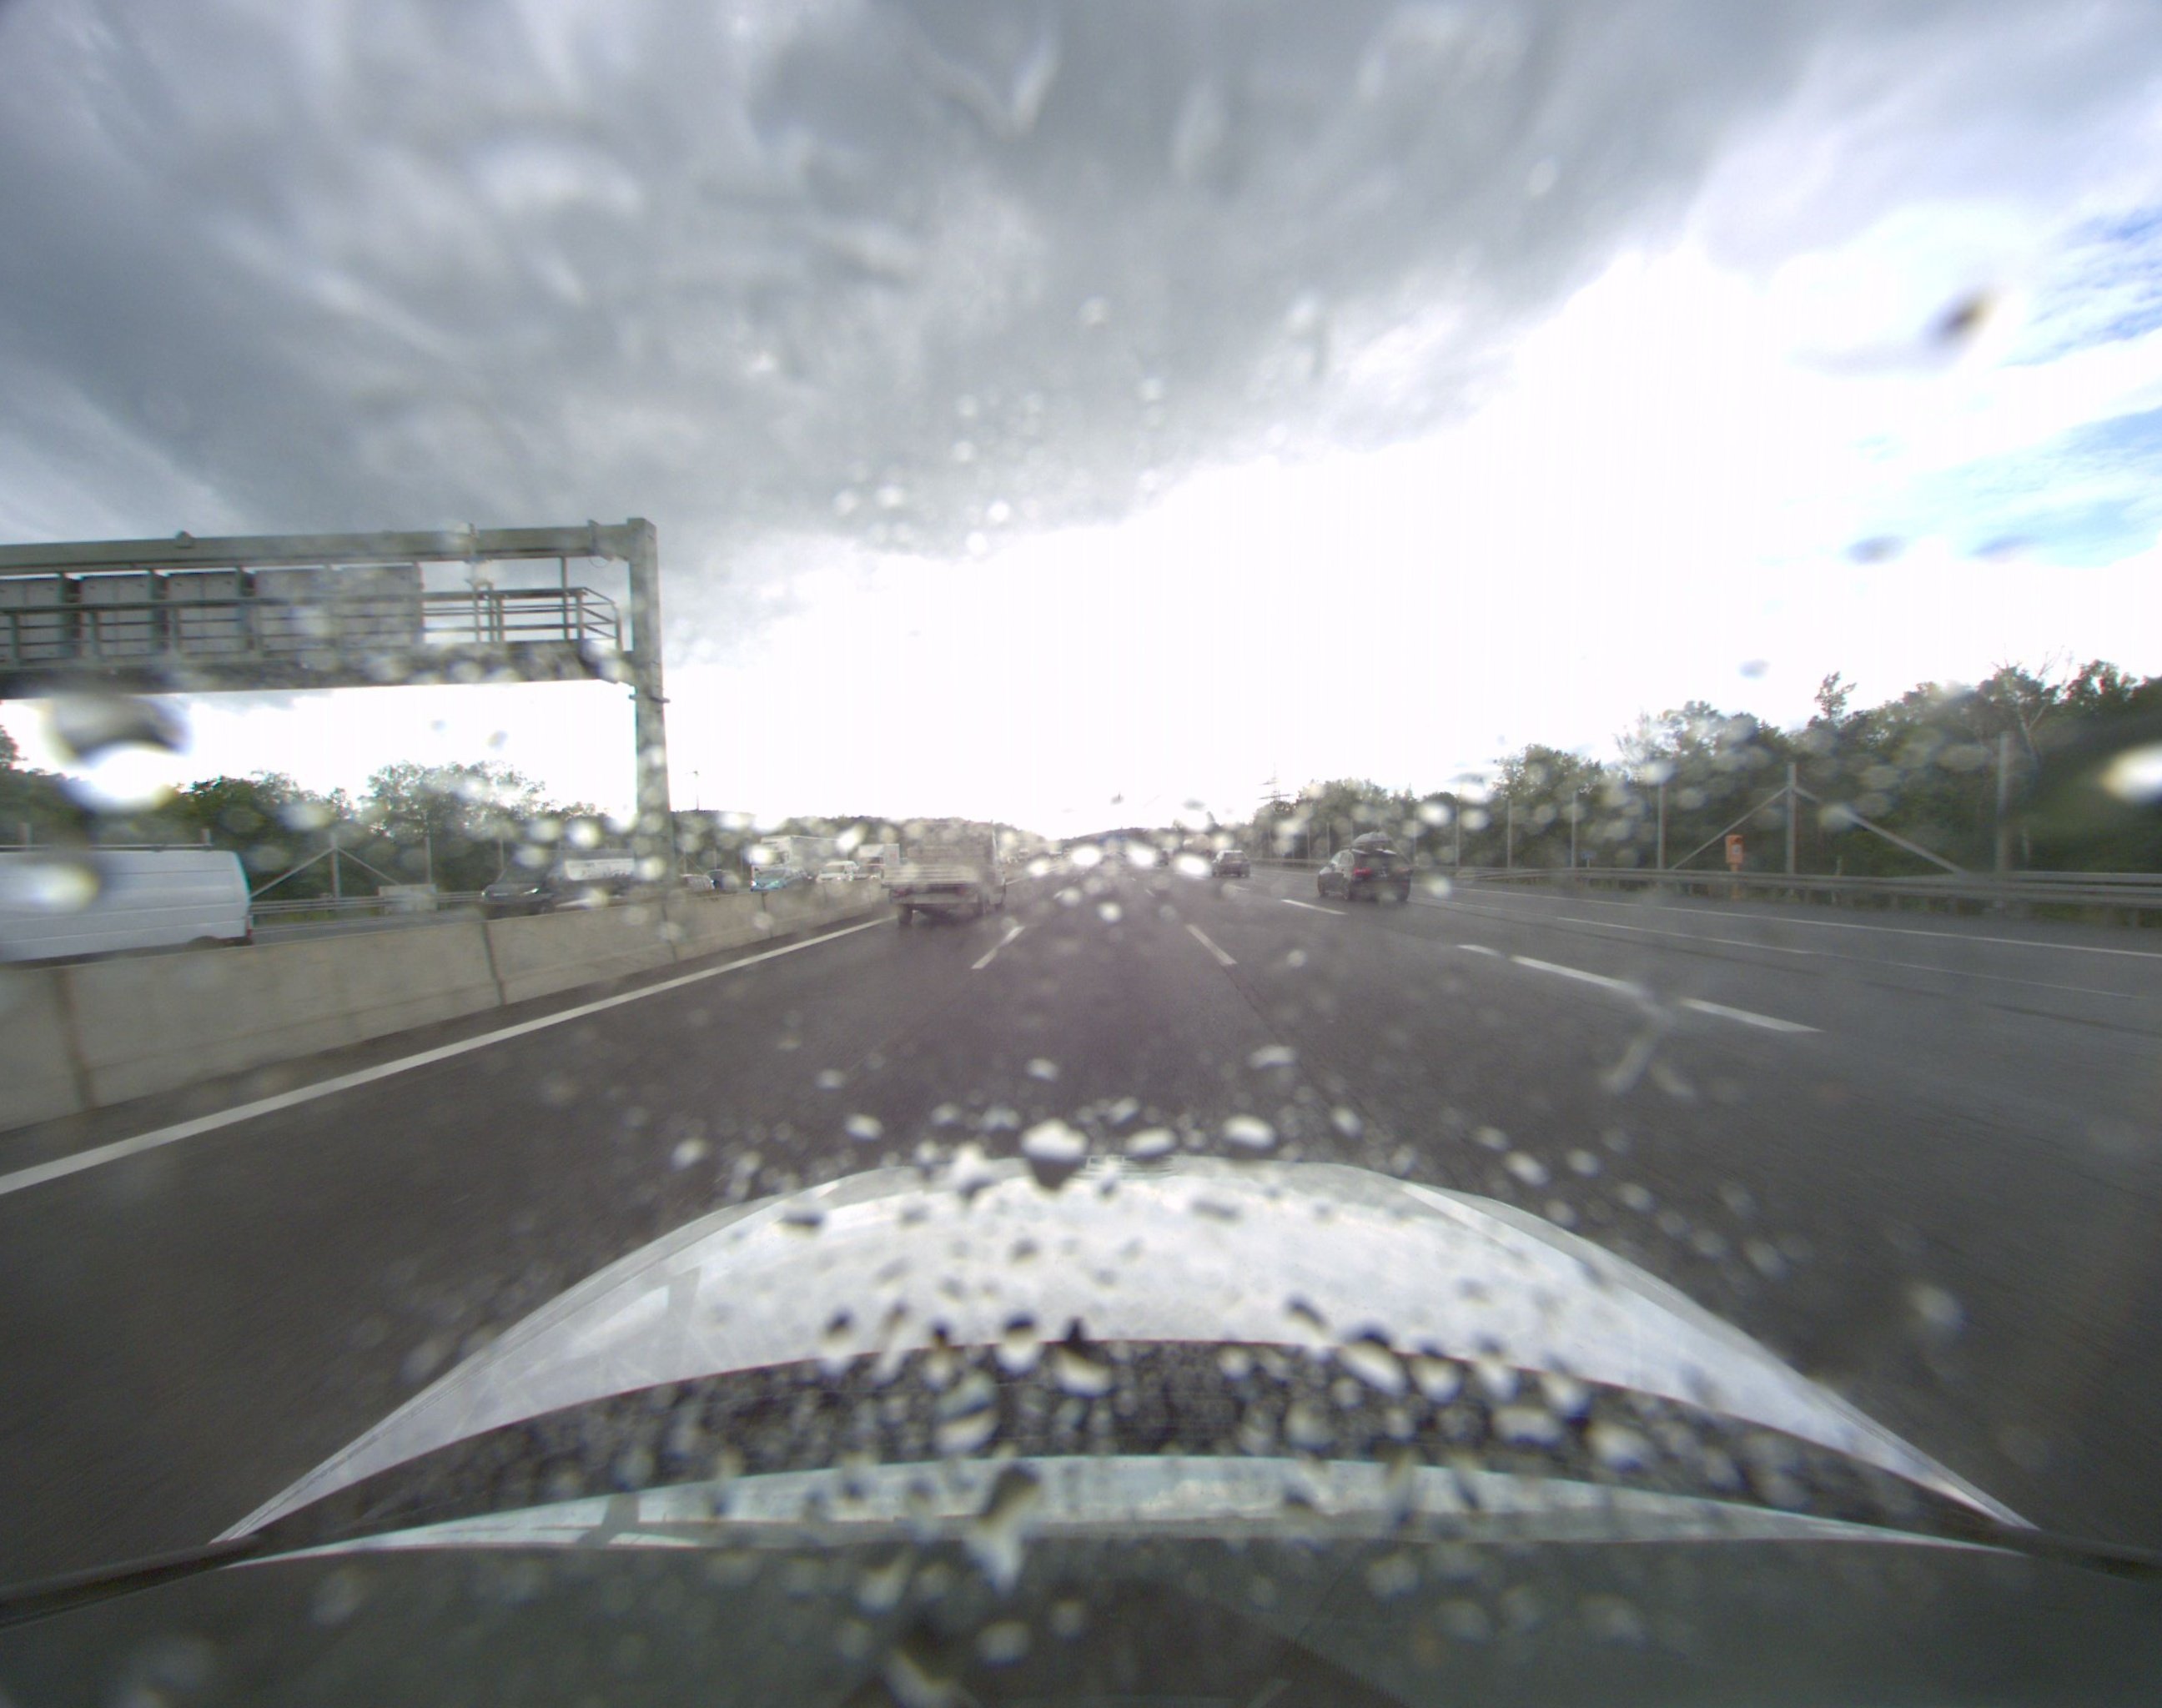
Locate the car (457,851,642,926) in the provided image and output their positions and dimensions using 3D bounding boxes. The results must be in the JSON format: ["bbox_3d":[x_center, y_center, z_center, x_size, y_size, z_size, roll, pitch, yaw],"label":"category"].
[{"bbox_3d":[-20.481,1.188,32.007,2.263,2.546,7.359,-2,0,1],"label":"car"}]

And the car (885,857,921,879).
[{"bbox_3d":[-16.242,1.229,74.529,1.851,1.824,5.667,-1,0,2],"label":"car"}]

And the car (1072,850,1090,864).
[{"bbox_3d":[0.000,0.386,101.961,2.037,1.699,4.002,-1,1,2],"label":"car"}]

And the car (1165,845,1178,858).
[{"bbox_3d":[17.448,-0.448,157.510,2.037,2.498,4.002,-1,0,2],"label":"car"}]

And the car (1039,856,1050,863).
[{"bbox_3d":[-7.963,1.197,177.439,1.887,1.624,4.847,-1,0,2],"label":"car"}]

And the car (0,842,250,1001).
[{"bbox_3d":[-18.016,1.079,13.442,2.195,2.488,6.066,-2,1,1],"label":"car"}]

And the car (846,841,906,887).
[{"bbox_3d":[-16.028,0.712,64.282,2.488,3.300,7.630,-1,0,2],"label":"car"}]

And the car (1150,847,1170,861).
[{"bbox_3d":[10.294,0.010,106.812,2.092,1.699,3.998,-1,1,-2],"label":"car"}]

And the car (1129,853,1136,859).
[{"bbox_3d":[15.143,0.572,240.202,2.037,1.699,4.003,-1,1,3],"label":"car"}]

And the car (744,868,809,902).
[{"bbox_3d":[-16.491,1.644,44.372,1.795,1.621,4.282,-1,0,2],"label":"car"}]

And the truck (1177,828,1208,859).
[{"bbox_3d":[15.328,-1.466,112.342,3.320,4.080,8.275,-1,0,2],"label":"truck"}]

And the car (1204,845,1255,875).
[{"bbox_3d":[9.081,0.342,50.213,2.039,1.699,5.004,-2,0,-1],"label":"car"}]

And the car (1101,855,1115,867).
[{"bbox_3d":[3.981,0.976,119.182,2.038,1.699,4.002,-1,1,1],"label":"car"}]

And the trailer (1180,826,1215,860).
[{"bbox_3d":[15.100,-1.377,106.423,3.320,4.175,11.844,-1,0,2],"label":"trailer"}]

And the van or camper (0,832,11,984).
[{"bbox_3d":[-21.573,1.095,12.266,2.575,2.847,6.212,-2,1,-1],"label":"van or camper"}]

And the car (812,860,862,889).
[{"bbox_3d":[-16.087,1.316,53.931,1.706,1.667,4.798,-1,0,2],"label":"car"}]

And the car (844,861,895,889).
[{"bbox_3d":[-12.498,1.191,48.392,1.752,1.498,4.395,-1,0,2],"label":"car"}]

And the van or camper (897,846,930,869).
[{"bbox_3d":[-16.523,0.279,80.730,2.087,2.186,4.973,-1,0,2],"label":"van or camper"}]

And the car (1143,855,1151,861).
[{"bbox_3d":[20.596,1.150,254.387,1.986,1.750,4.498,-1,0,2],"label":"car"}]

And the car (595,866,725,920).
[{"bbox_3d":[-13.206,1.170,25.880,1.752,1.438,4.394,-1,0,1],"label":"car"}]

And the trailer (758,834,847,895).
[{"bbox_3d":[-24.234,0.783,71.884,3.136,4.856,13.295,-1,0,0],"label":"trailer"}]

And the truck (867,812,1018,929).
[{"bbox_3d":[-3.163,0.311,20.588,2.344,2.408,7.360,-1,1,1],"label":"truck"}]

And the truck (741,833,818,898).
[{"bbox_3d":[-24.220,0.837,65.957,3.136,4.856,8.027,-1,0,0],"label":"truck"}]

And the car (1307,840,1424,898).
[{"bbox_3d":[8.687,0.434,25.392,2.096,1.605,5.070,-1,0,3],"label":"car"}]
